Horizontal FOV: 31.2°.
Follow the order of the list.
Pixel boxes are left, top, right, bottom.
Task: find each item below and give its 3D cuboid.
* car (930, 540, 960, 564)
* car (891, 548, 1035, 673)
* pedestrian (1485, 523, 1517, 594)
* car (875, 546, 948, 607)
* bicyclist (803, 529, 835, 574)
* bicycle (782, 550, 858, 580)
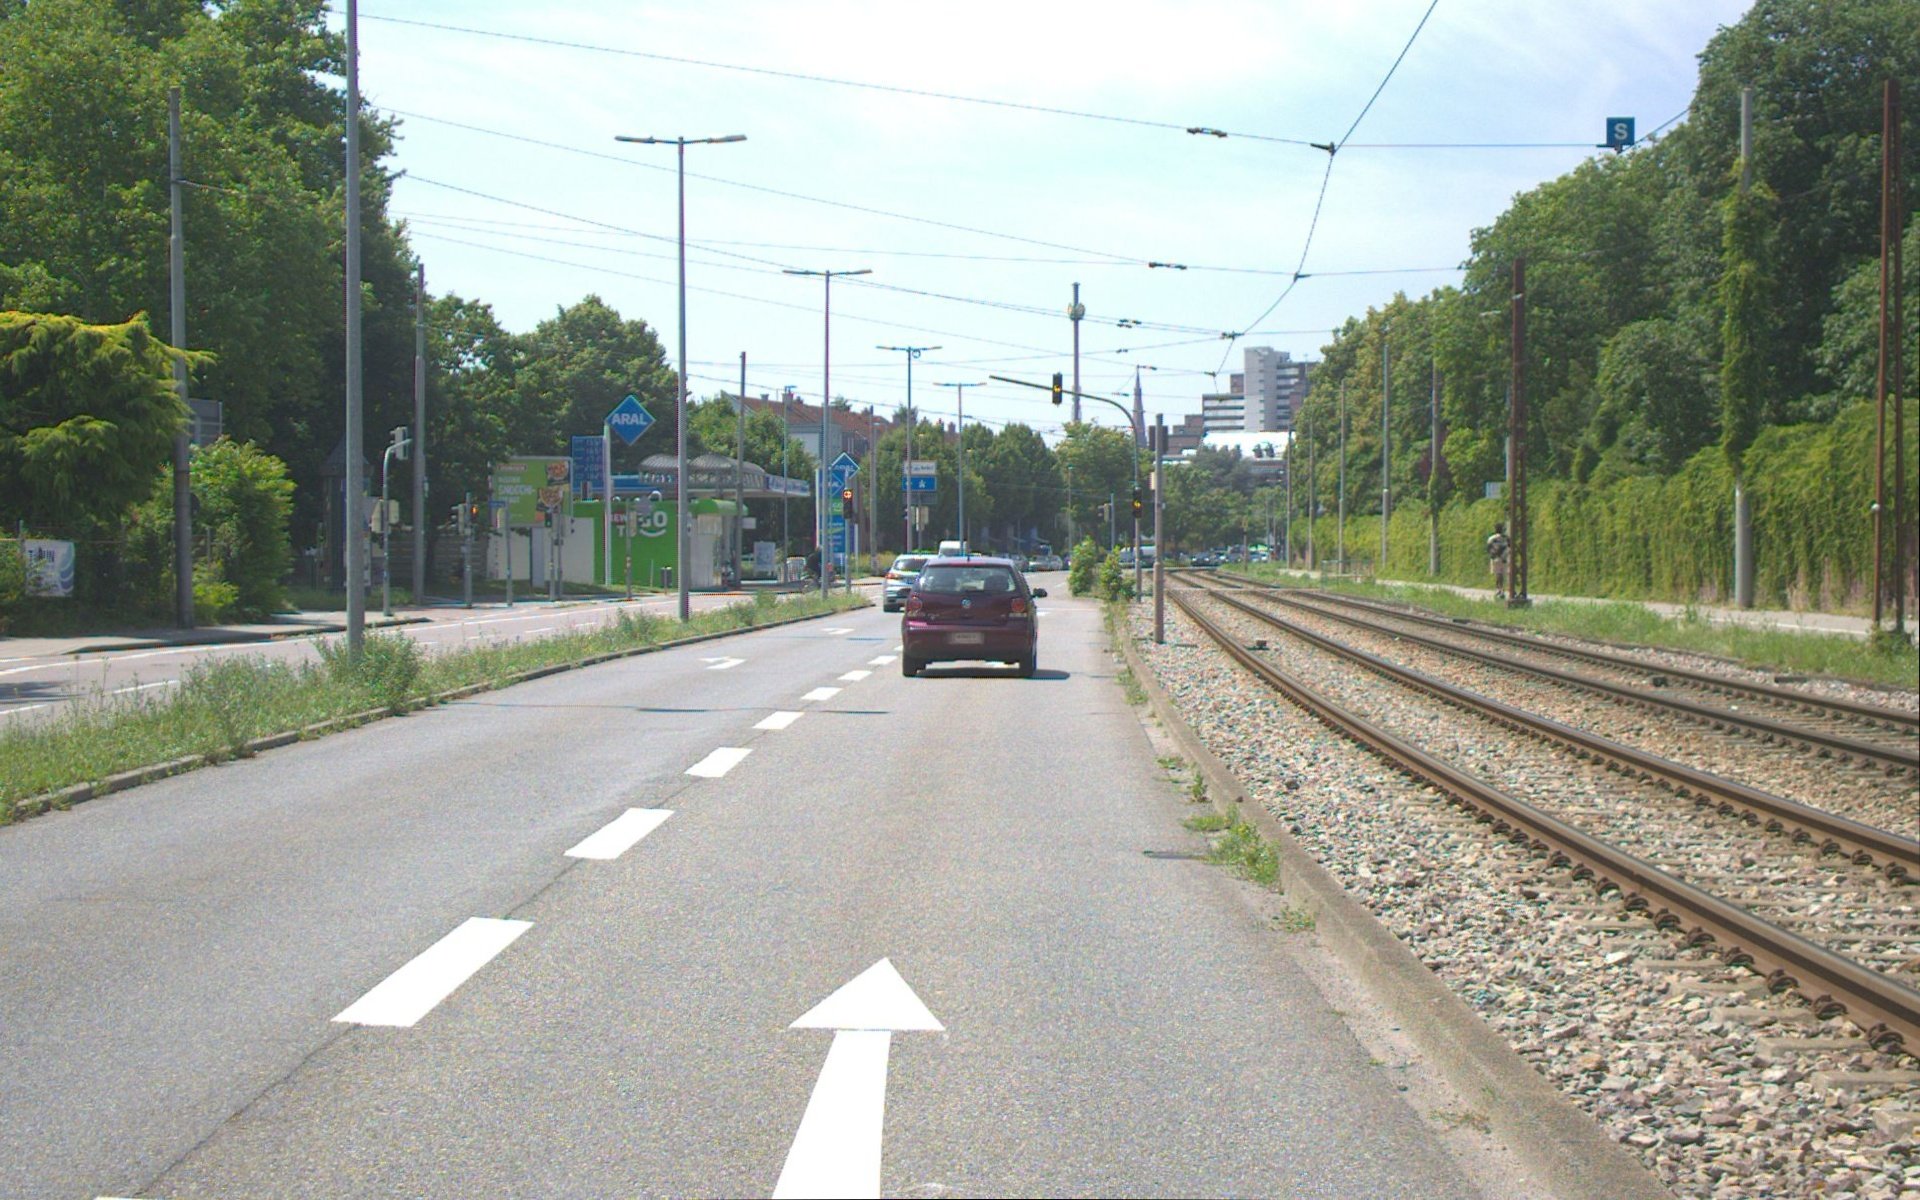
[{"bbox_3d":[-1.061,-3.420,245.292,1.993,1.590,4.000,1,0,-2],"label":"car"},{"bbox_3d":[0.064,0.097,42.951,1.703,1.472,3.716,1,1,1],"label":"car"},{"bbox_3d":[13.090,-1.006,83.255,0.661,1.720,0.816,0,1,2],"label":"pedestrian"},{"bbox_3d":[-1.247,-0.593,86.754,1.702,1.475,3.717,1,0,-2],"label":"car"},{"bbox_3d":[-5.086,-1.731,123.994,0.944,1.588,1.088,1,0,-13],"label":"bicyclist"},{"bbox_3d":[-5.042,-1.261,123.976,2.549,1.034,1.088,1,0,-13],"label":"bicycle"}]
